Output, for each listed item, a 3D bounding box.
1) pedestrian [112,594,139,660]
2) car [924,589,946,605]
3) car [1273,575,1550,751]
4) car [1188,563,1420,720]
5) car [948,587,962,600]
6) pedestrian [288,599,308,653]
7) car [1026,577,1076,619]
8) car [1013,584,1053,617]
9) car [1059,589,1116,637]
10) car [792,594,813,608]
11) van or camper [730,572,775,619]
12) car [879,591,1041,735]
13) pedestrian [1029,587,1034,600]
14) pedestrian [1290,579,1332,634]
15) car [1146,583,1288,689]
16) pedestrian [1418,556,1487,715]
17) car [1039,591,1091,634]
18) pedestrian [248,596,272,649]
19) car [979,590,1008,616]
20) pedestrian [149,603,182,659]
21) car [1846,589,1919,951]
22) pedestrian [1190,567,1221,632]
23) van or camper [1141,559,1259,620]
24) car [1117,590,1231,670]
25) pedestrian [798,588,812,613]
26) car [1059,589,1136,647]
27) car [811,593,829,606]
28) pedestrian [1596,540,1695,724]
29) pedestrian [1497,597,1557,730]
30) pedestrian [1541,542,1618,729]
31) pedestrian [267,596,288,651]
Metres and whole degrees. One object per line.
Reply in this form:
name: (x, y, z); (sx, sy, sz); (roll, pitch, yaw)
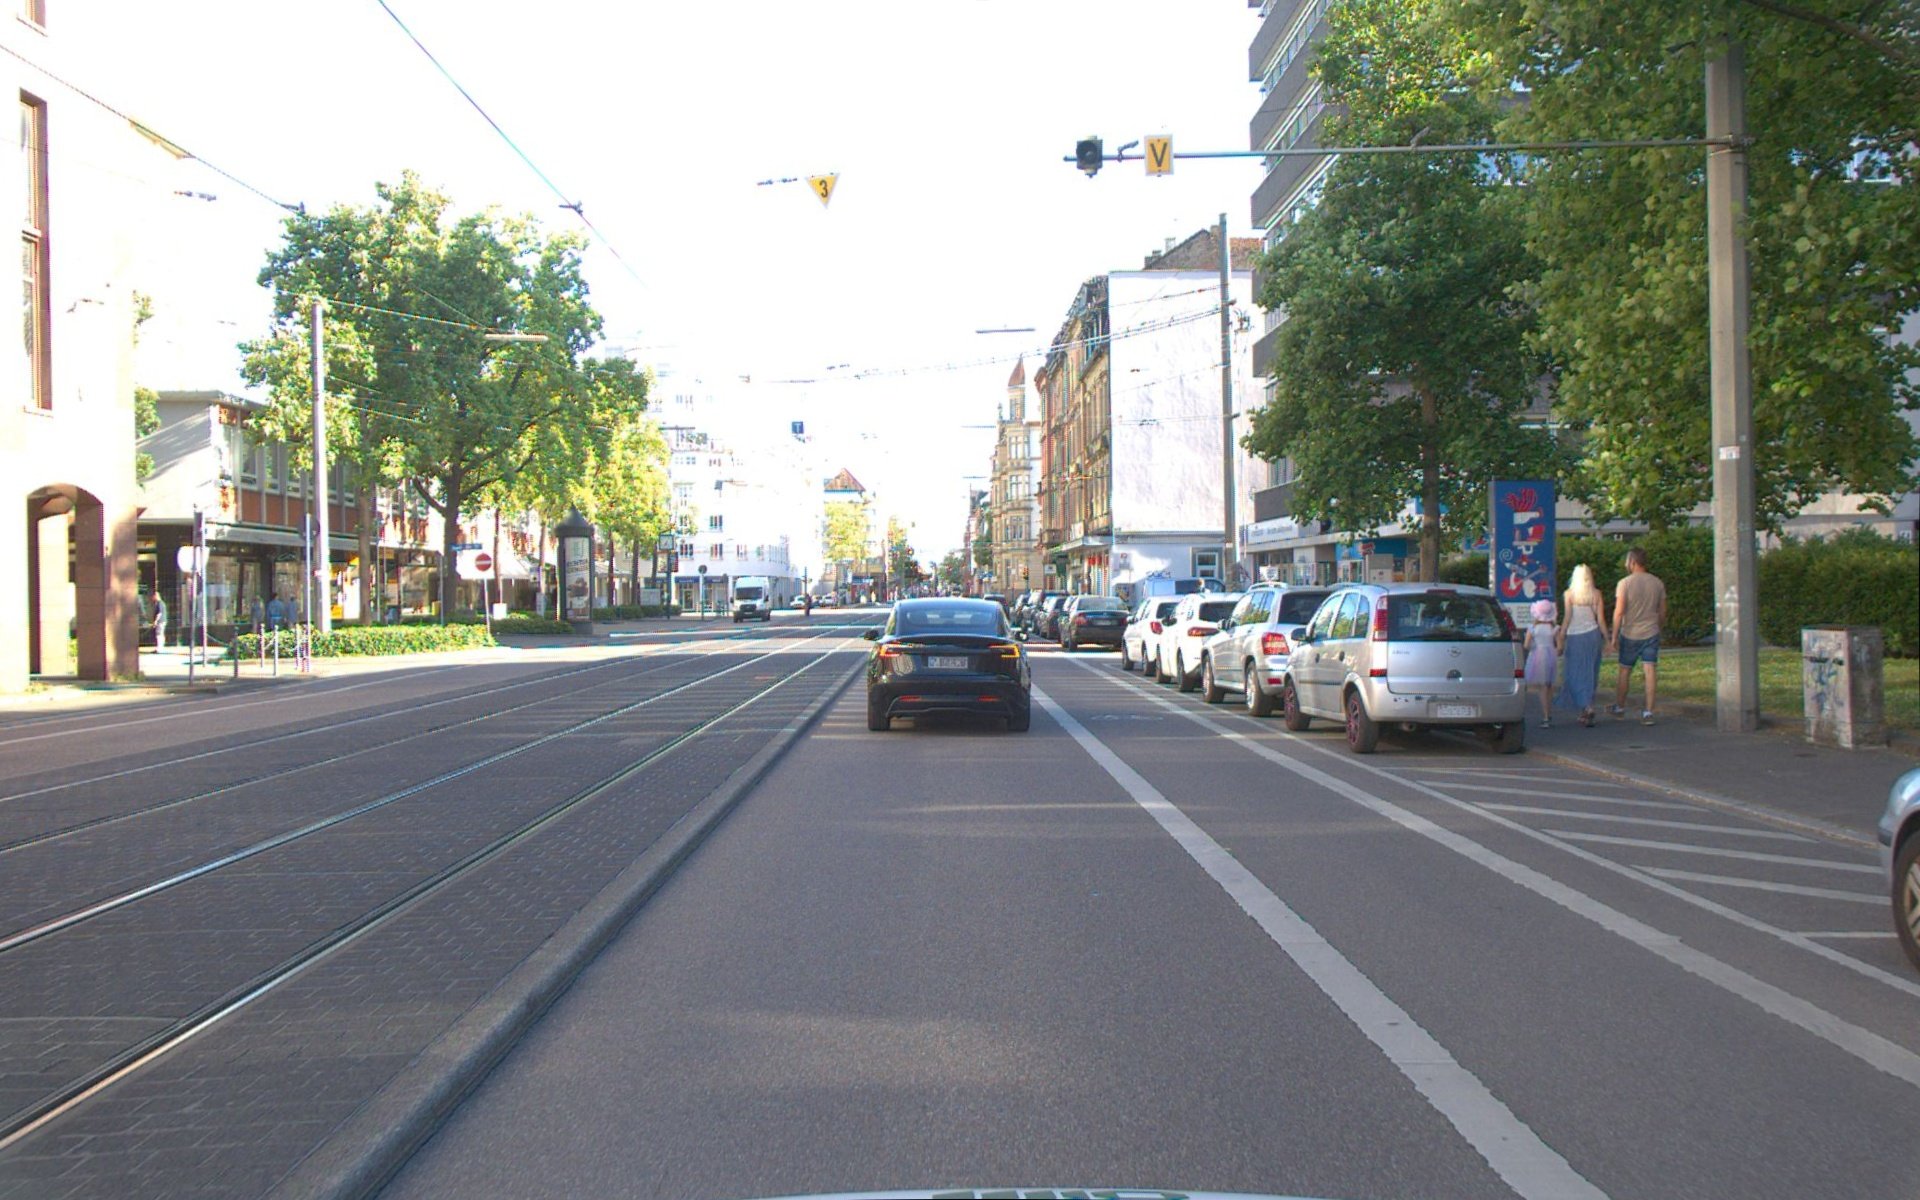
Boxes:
pedestrian: (-26.881, 0.860, 53.278); (0.657, 2.102, 0.599); (1, 1, 44)
car: (-2.567, -0.304, 170.848); (1.955, 1.552, 3.996); (-1, 0, -5)
car: (4.589, 0.555, 17.425); (1.679, 1.618, 4.064); (0, 1, -2)
car: (4.468, 0.447, 22.262); (1.887, 1.866, 4.709); (-1, 1, -4)
car: (-0.717, -0.830, 221.609); (1.808, 1.620, 4.000); (-2, 1, 0)
pedestrian: (-23.009, 0.900, 57.490); (0.535, 1.833, 0.587); (0, 1, -10)
car: (3.725, -0.070, 68.256); (1.792, 1.656, 4.095); (-1, 0, 0)
car: (3.474, 0.017, 79.025); (1.680, 1.498, 3.719); (-2, 1, 0)
car: (4.010, 0.406, 52.571); (1.546, 1.472, 3.309); (-1, 0, 0)
car: (-17.009, 0.147, 178.845); (1.953, 1.392, 3.999); (-2, 1, -1)
van or camper: (-12.851, -0.295, 102.946); (2.097, 2.700, 6.878); (-2, 1, -2)
car: (-0.065, 0.643, 19.110); (1.685, 1.430, 3.709); (0, 1, -2)
pedestrian: (6.794, -0.628, 156.510); (0.432, 1.242, 0.389); (-2, 1, -2)
pedestrian: (11.590, 0.202, 54.594); (1.130, 1.758, 1.043); (-2, 1, 24)
car: (4.203, 0.537, 27.673); (1.511, 1.597, 4.441); (0, 1, -3)
pedestrian: (5.863, 0.416, 19.727); (0.598, 1.839, 0.603); (-2, 0, 3)
car: (3.648, 0.426, 57.829); (1.432, 1.457, 3.812); (-1, 0, -2)
pedestrian: (-25.327, 0.808, 59.855); (0.614, 1.879, 0.672); (0, 1, -4)
car: (1.926, 0.170, 96.815); (1.561, 1.458, 3.686); (-2, 1, 0)
pedestrian: (-25.119, 0.969, 52.285); (0.512, 1.723, 0.710); (-2, 1, 22)
car: (4.671, 0.724, 5.175); (1.713, 1.468, 4.317); (-1, 1, 4)
pedestrian: (7.086, -0.009, 47.811); (0.707, 1.843, 0.889); (-2, 0, -1)
van or camper: (9.962, -0.433, 68.884); (4.548, 2.173, 1.988); (-4, 0, 3)
car: (4.221, 0.556, 33.128); (1.570, 1.468, 3.882); (1, 0, -4)
pedestrian: (-10.529, 0.040, 112.220); (0.826, 1.725, 0.797); (0, 1, 6)
car: (3.808, 0.476, 46.437); (1.676, 1.482, 4.549); (-2, 1, -1)
car: (-17.212, -0.048, 203.682); (1.953, 1.521, 3.999); (-2, 1, -1)
pedestrian: (7.514, 0.338, 18.155); (0.655, 1.930, 0.748); (-5, 0, 4)
pedestrian: (6.272, 0.697, 18.313); (0.446, 1.422, 0.423); (-4, 0, 4)
pedestrian: (6.821, 0.382, 18.243); (0.455, 1.987, 0.748); (-5, 0, 4)
pedestrian: (-23.632, 0.805, 57.281); (0.580, 1.905, 0.537); (0, 1, -10)
